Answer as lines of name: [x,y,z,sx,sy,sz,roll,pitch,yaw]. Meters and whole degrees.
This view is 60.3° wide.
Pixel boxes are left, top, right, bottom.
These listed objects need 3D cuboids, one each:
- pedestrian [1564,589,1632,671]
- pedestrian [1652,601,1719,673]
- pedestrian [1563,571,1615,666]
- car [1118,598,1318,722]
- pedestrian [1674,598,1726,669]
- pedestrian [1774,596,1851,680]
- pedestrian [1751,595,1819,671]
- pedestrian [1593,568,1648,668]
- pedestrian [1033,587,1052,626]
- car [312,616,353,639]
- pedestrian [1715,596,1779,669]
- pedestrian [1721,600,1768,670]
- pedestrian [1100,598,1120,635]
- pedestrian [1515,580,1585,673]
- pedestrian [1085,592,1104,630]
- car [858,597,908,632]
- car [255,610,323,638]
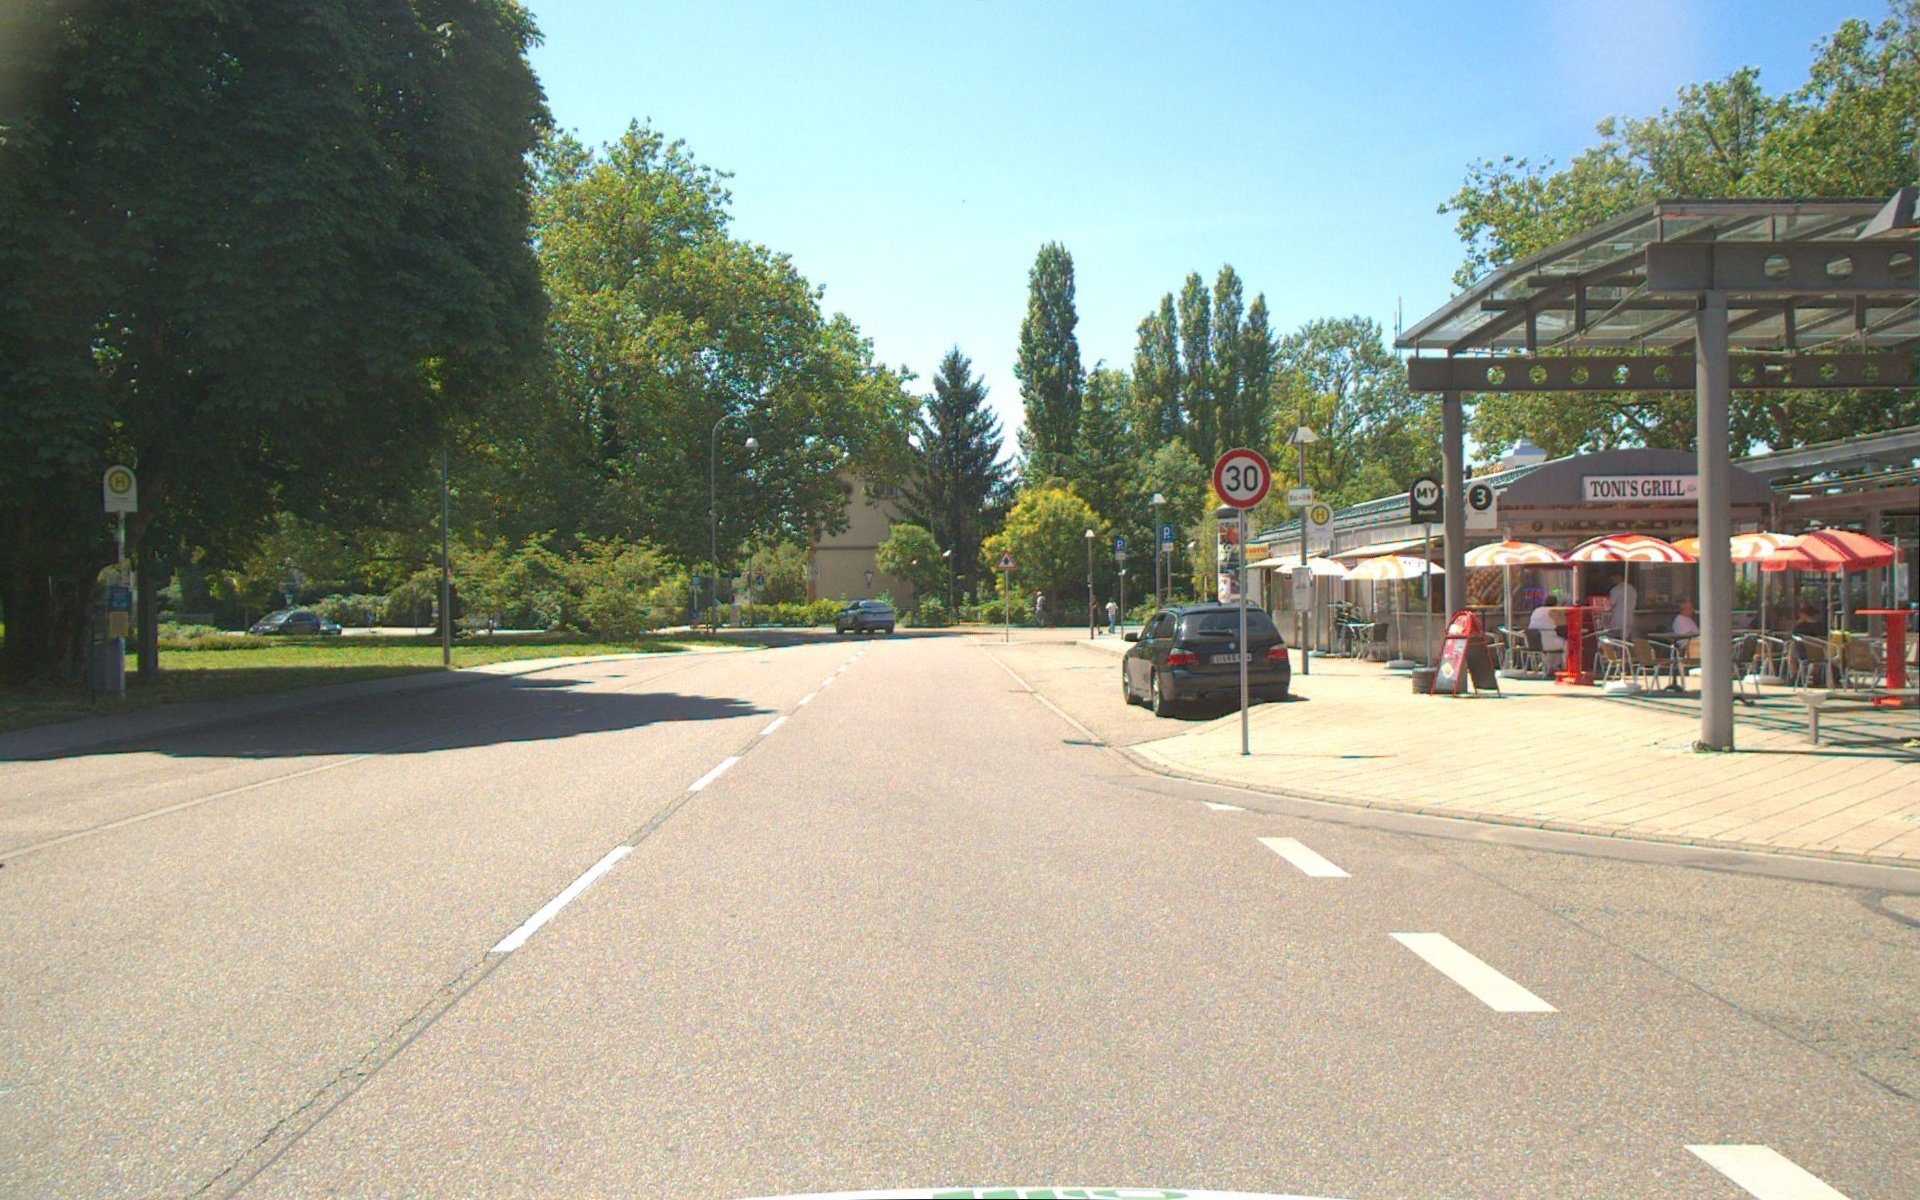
pedestrian: [10.679,0.495,27.682,0.885,1.335,0.680,0,0,-36]
pedestrian: [12.114,0.608,27.626,0.885,1.181,0.680,0,0,-36]
pedestrian: [11.817,0.346,31.073,0.672,1.768,0.707,-1,-1,-2]
car: [3.561,0.780,23.754,1.888,1.486,4.723,-3,0,-2]
pedestrian: [13.230,0.597,29.571,0.642,1.226,0.592,1,-1,-2]
pedestrian: [12.265,0.537,23.818,0.672,1.181,0.895,-1,0,3]
pedestrian: [13.658,0.550,27.387,0.743,1.226,0.737,1,-1,-2]
pedestrian: [11.826,0.321,29.613,0.672,1.768,0.707,-1,-1,-2]
pedestrian: [4.257,0.356,85.485,0.836,2.000,0.807,-1,0,11]
car: [-39.210,1.709,103.431,1.784,1.333,3.977,-1,0,-11]
pedestrian: [13.576,0.567,28.542,0.743,1.226,0.737,1,-1,-2]
pedestrian: [14.031,0.618,29.589,0.641,1.226,0.593,1,-1,14]
pedestrian: [7.008,0.778,77.204,0.706,1.678,0.750,-1,-3,26]
pedestrian: [9.295,0.410,26.047,0.886,1.442,0.679,0,0,-39]
pedestrian: [6.143,0.510,75.718,0.623,1.678,0.750,-1,-3,26]
car: [-3.768,0.685,81.875,1.941,1.655,4.780,-1,0,3]
car: [-36.743,1.294,90.621,1.517,1.435,3.805,-1,0,13]
